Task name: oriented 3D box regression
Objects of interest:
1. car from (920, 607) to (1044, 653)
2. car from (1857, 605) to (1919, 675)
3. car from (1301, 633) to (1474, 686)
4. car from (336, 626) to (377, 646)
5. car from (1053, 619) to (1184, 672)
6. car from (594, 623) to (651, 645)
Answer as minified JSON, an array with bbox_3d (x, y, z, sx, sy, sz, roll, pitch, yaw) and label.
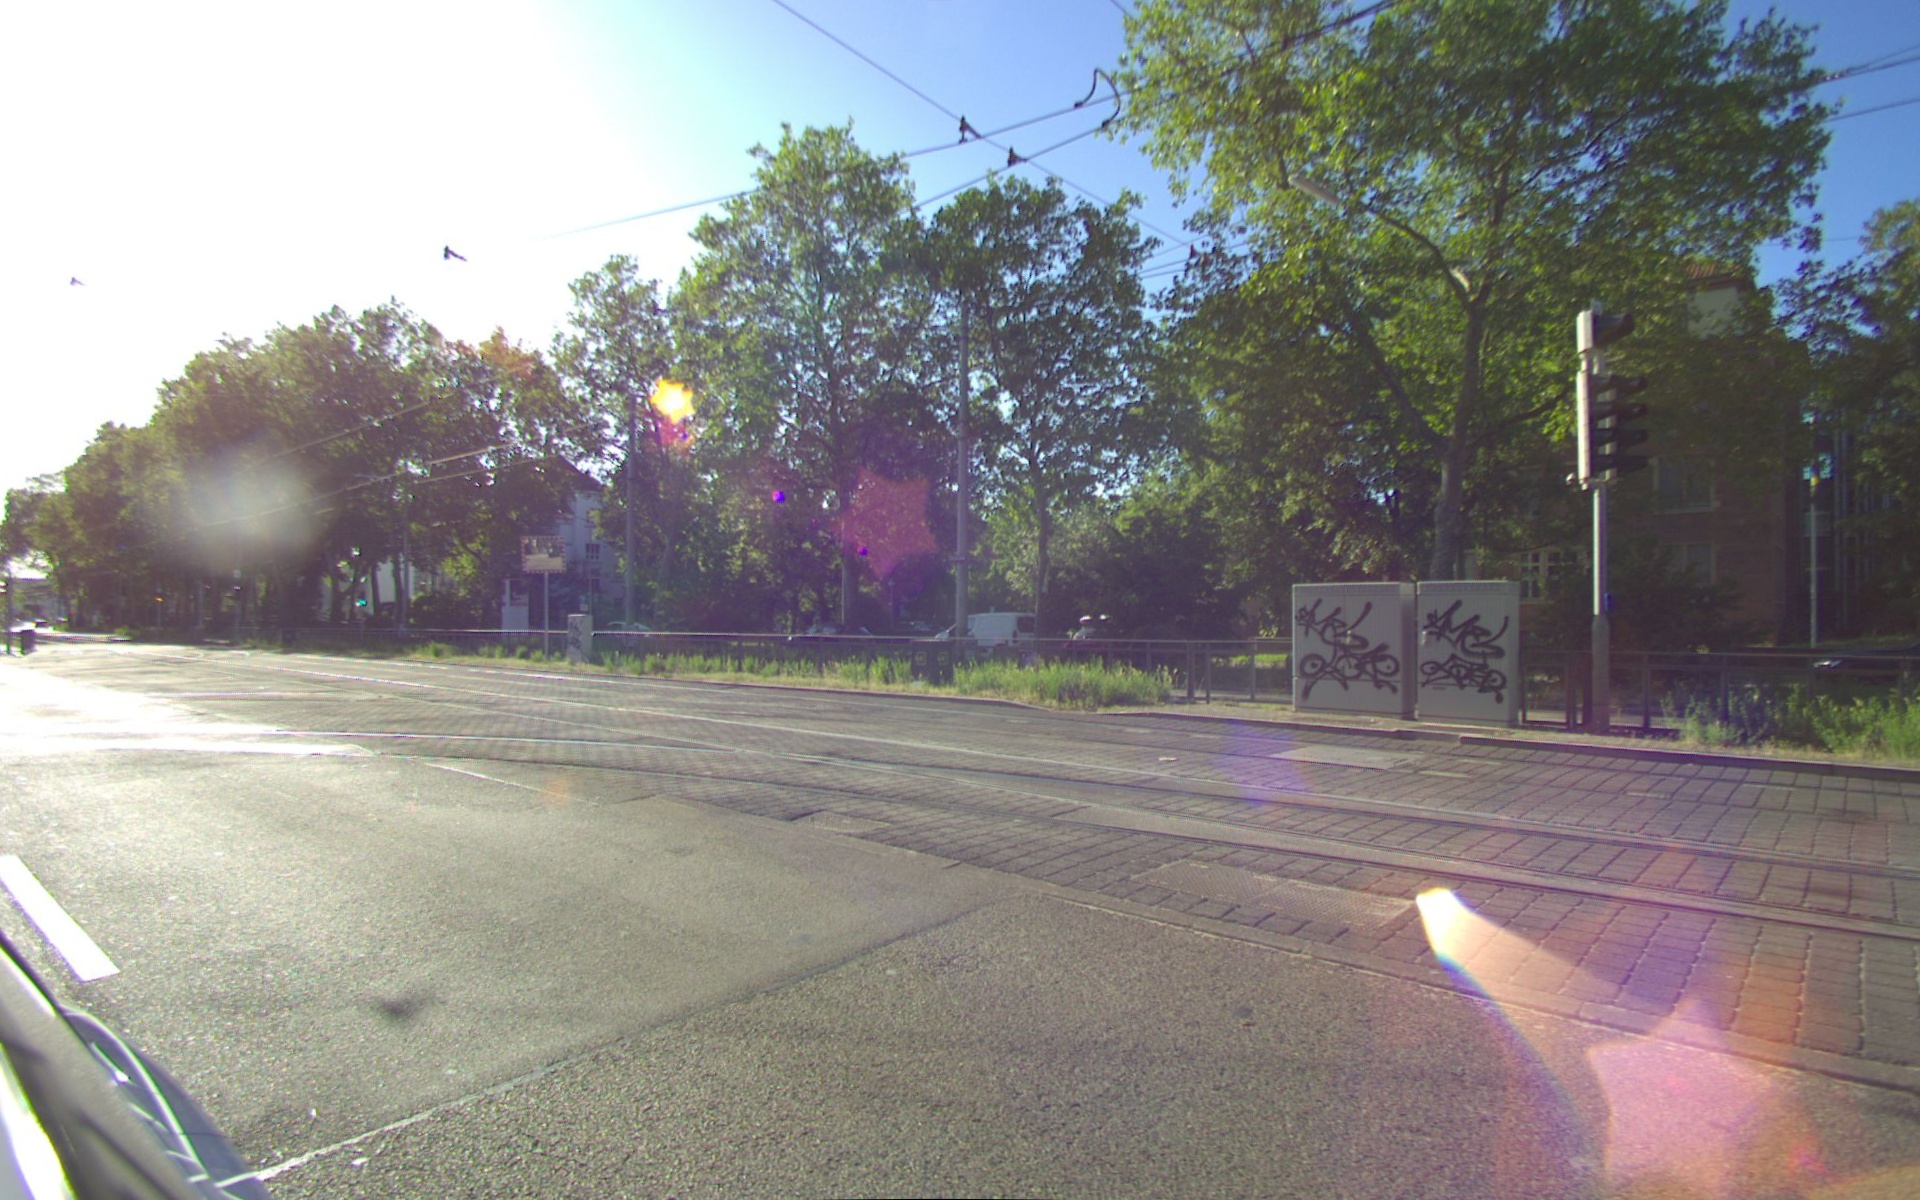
[{"bbox_3d":[0.725,1.071,35.868,4.347,1.482,1.722,-2,0,43],"label":"car"},{"bbox_3d":[19.011,0.730,18.395,4.024,1.232,1.578,-1,1,42],"label":"car"},{"bbox_3d":[10.866,1.470,25.857,3.763,1.231,1.603,-1,-2,43],"label":"car"},{"bbox_3d":[-48.598,2.907,81.448,3.754,1.482,1.700,-2,0,41],"label":"car"},{"bbox_3d":[4.857,1.365,31.362,1.573,1.482,3.824,-2,0,-44],"label":"car"},{"bbox_3d":[-17.396,1.738,52.090,3.129,1.057,1.483,-2,0,44],"label":"car"}]
